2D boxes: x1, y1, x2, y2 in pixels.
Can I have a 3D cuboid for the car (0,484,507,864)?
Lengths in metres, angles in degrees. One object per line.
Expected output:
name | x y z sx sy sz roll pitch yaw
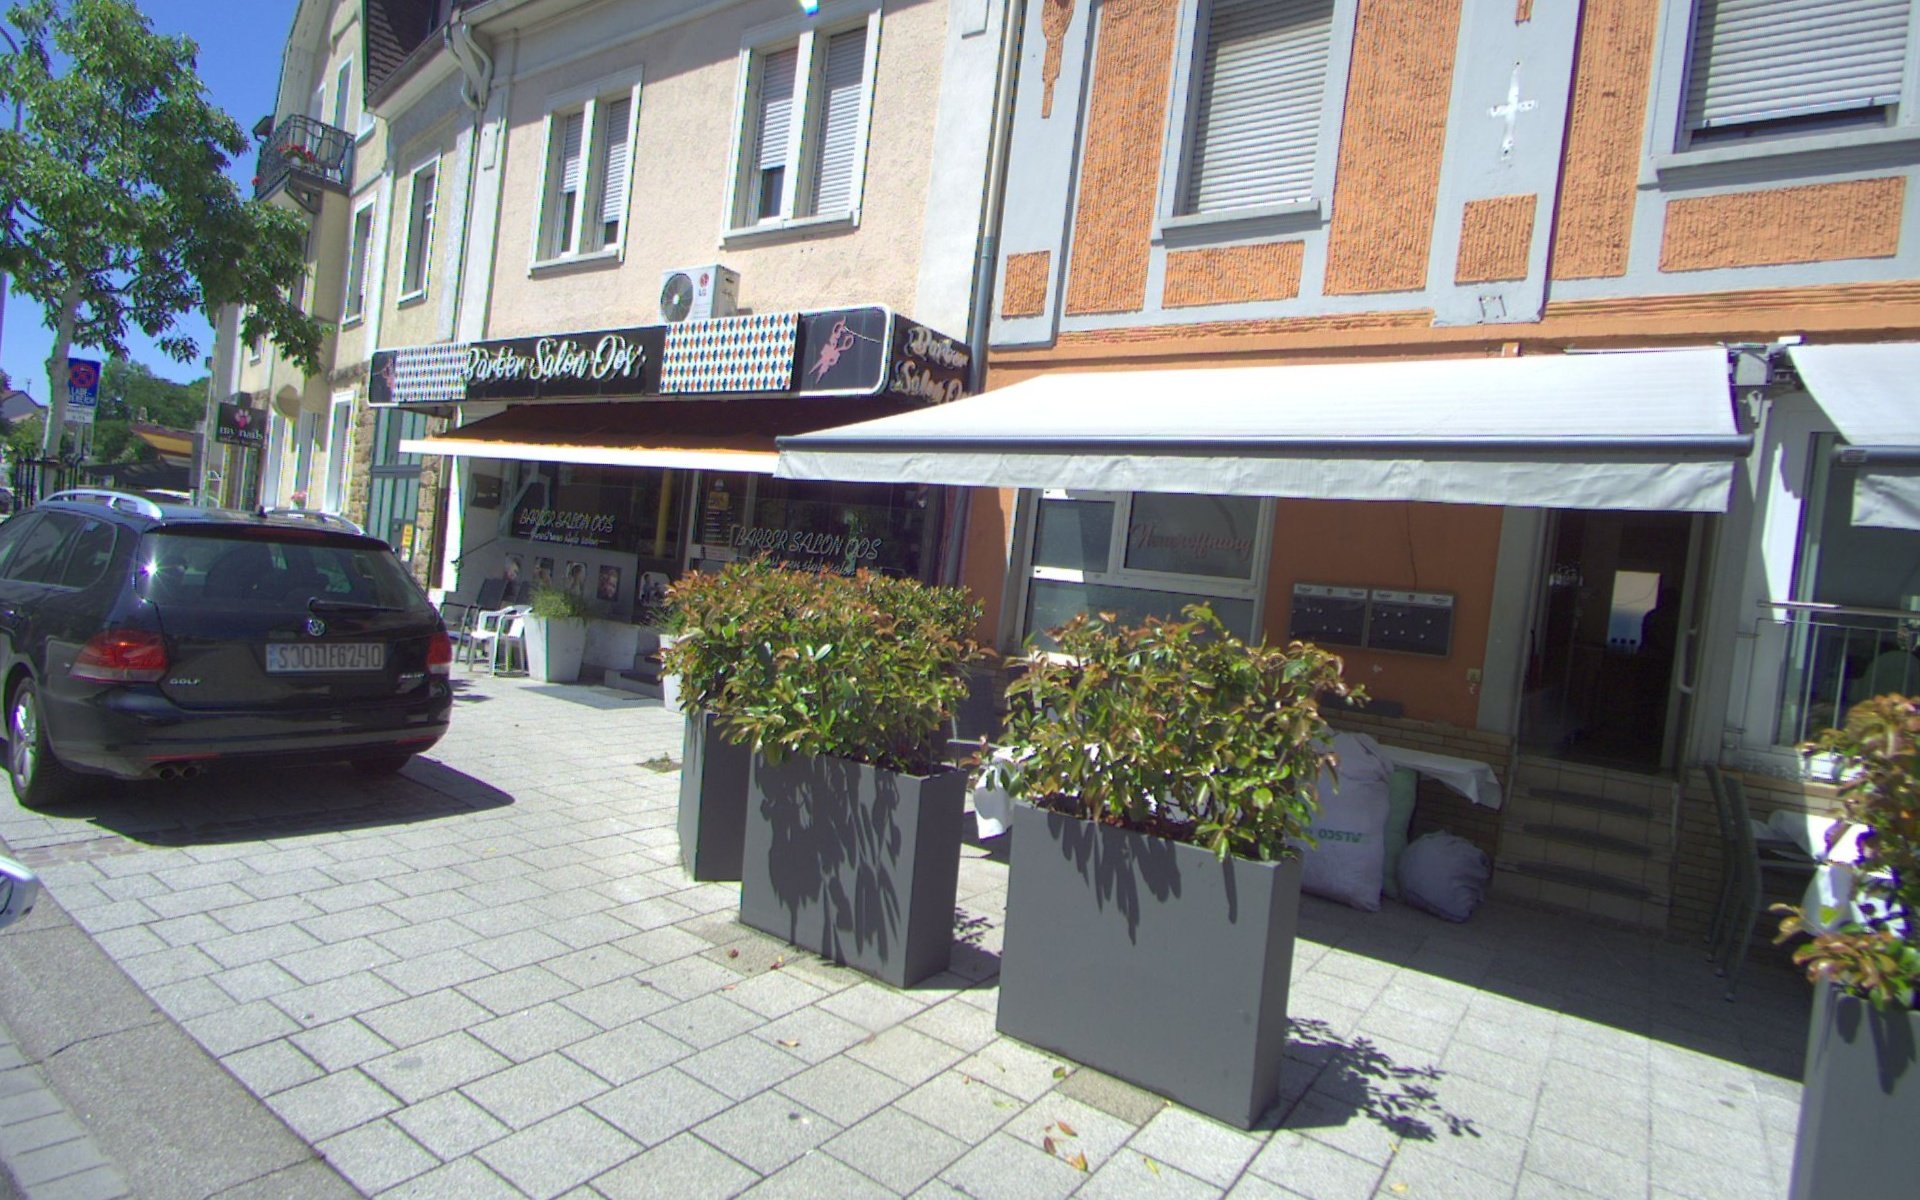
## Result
car | -4.625 0.171 5.901 3.936 1.506 1.749 6 2 34

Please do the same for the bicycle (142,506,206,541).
bicycle | -34.108 -3.300 43.713 2.034 1.192 0.884 8 0 -35
